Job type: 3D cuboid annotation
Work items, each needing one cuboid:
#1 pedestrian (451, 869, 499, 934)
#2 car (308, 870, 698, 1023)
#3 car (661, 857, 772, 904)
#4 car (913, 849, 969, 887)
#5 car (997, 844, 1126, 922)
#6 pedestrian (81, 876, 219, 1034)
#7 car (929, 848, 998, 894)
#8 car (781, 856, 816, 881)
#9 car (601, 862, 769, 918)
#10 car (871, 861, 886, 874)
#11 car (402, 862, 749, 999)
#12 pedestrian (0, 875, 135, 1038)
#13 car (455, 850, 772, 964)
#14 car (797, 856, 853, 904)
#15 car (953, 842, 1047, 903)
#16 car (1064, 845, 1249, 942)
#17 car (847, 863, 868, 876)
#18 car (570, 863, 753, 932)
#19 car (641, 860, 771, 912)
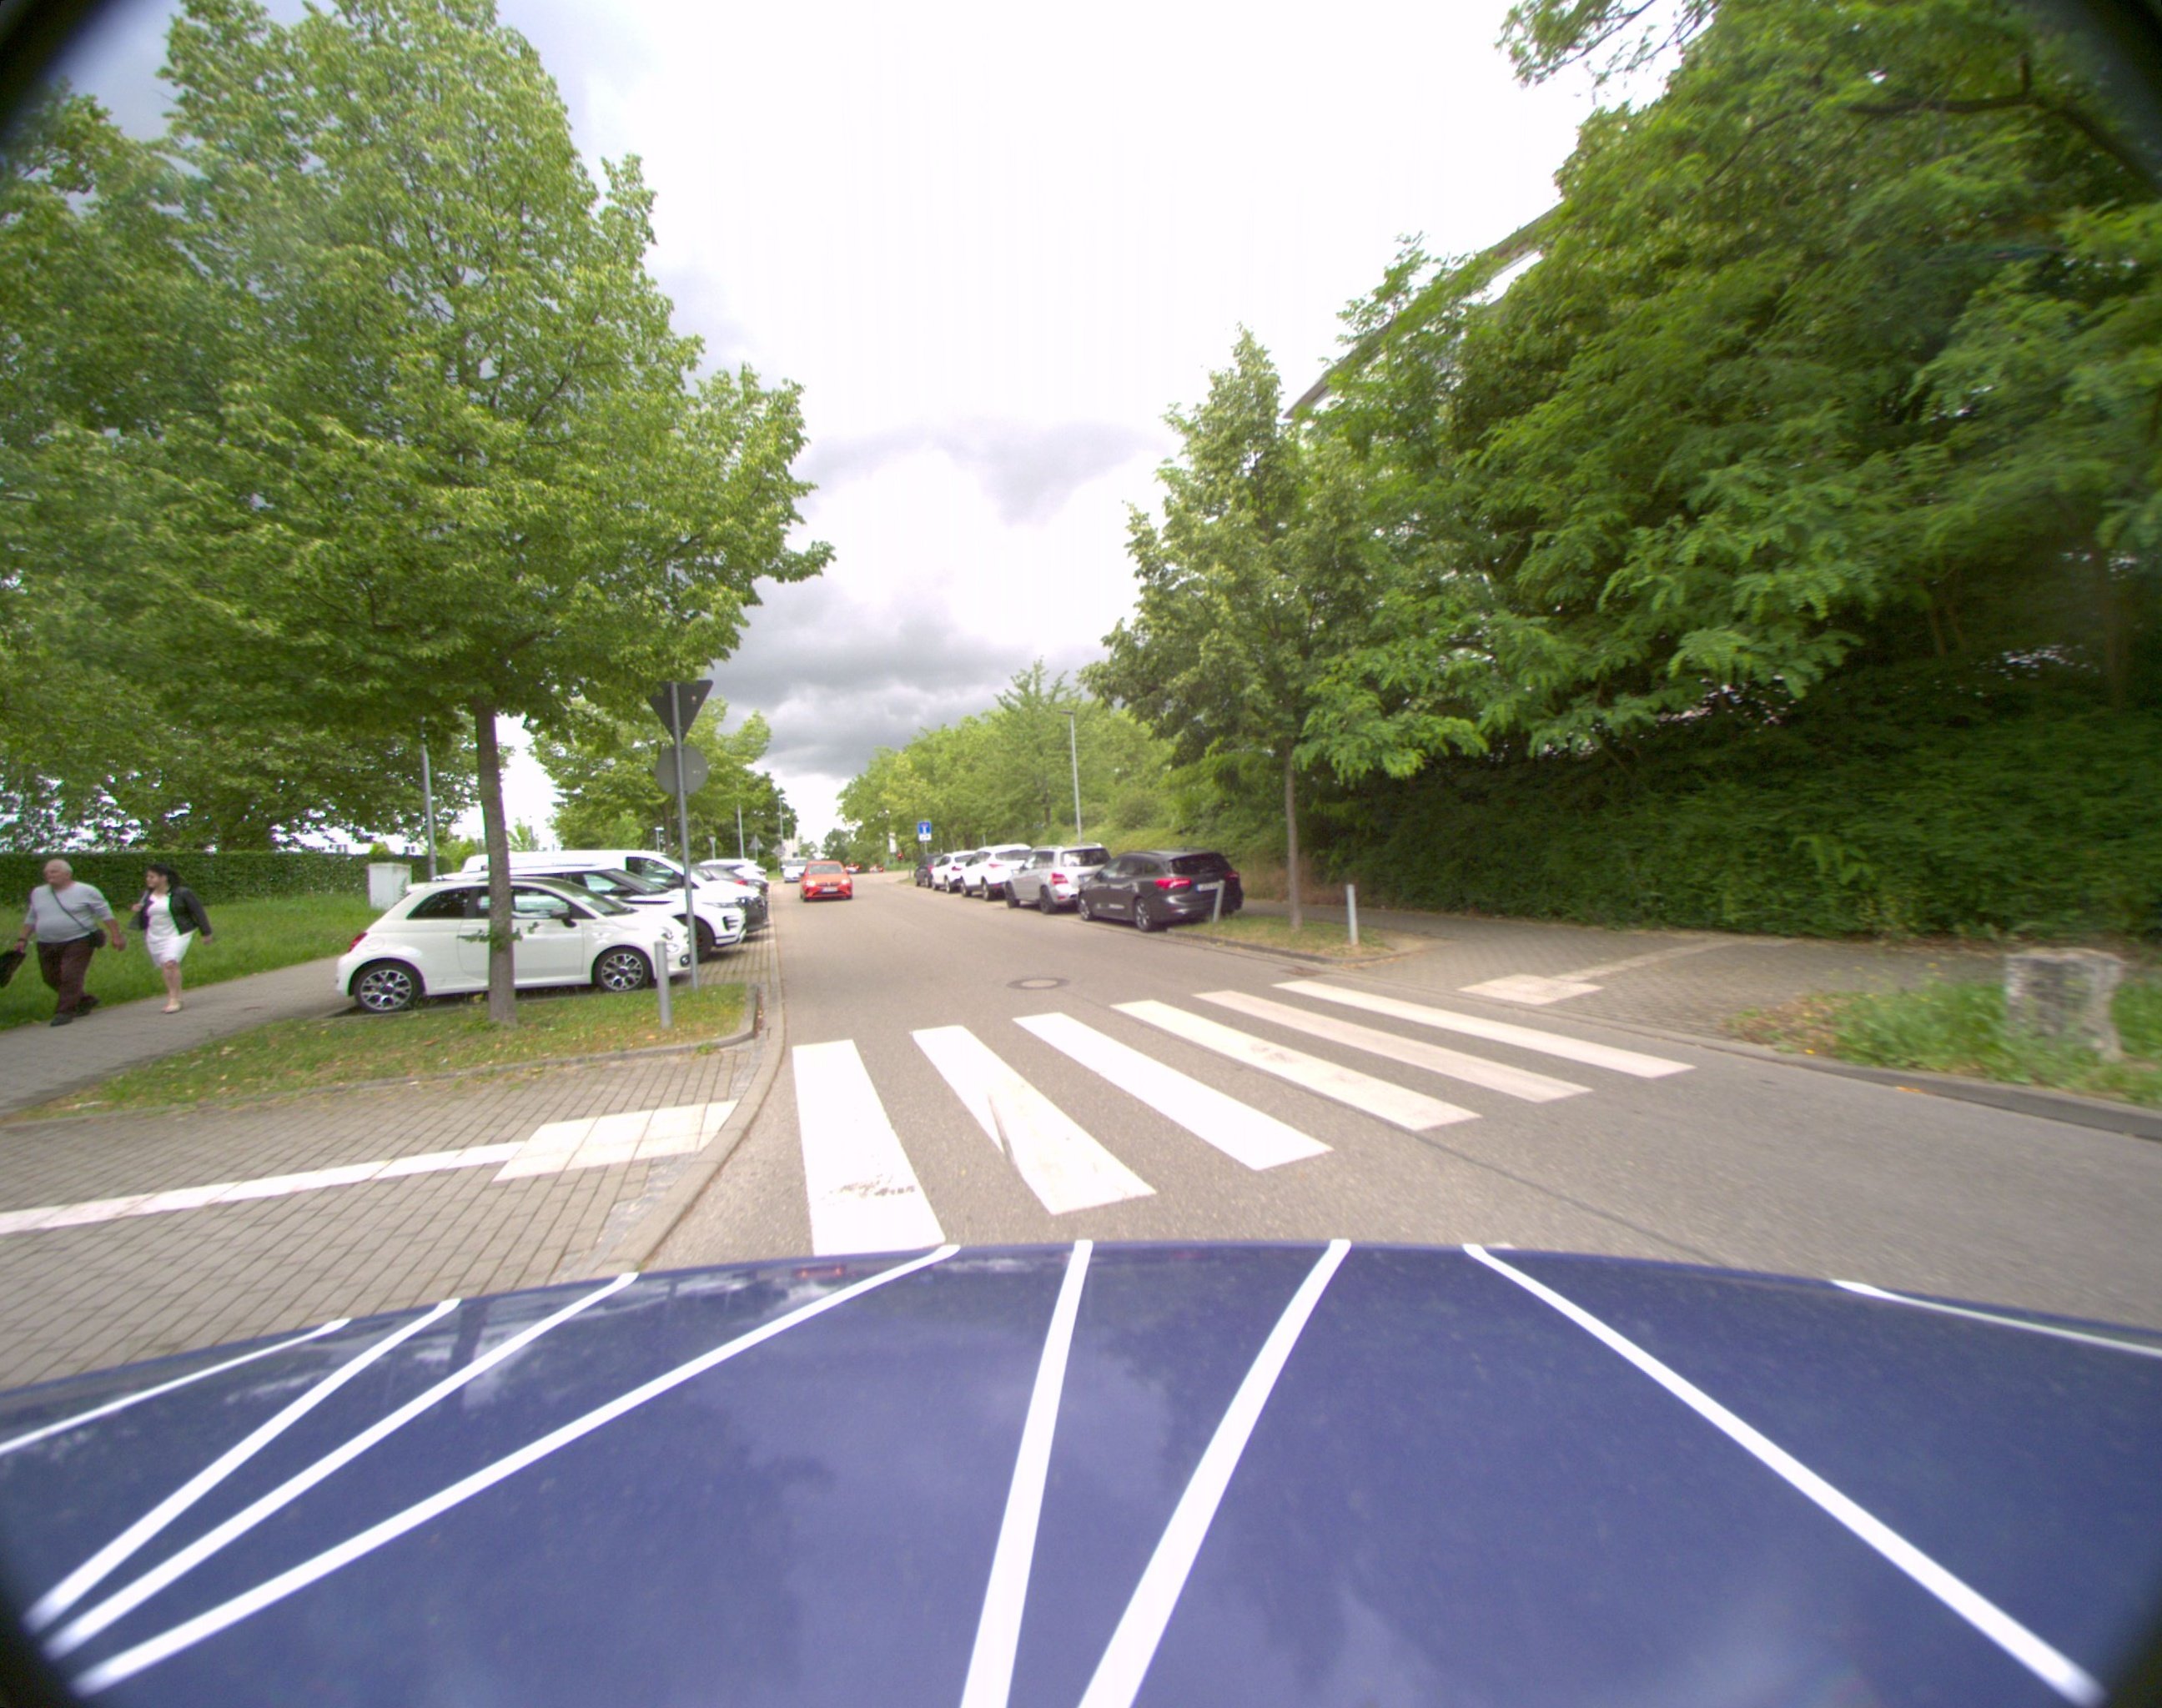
[{"bbox_3d":[-14.916,1.152,18.731,0.679,1.511,0.705,-4,1,-24],"label":"pedestrian"},{"bbox_3d":[-6.945,1.026,9.624,3.526,1.453,1.736,-3,1,-22],"label":"car"},{"bbox_3d":[-14.176,1.007,29.747,3.685,1.637,1.849,-2,0,-19],"label":"car"},{"bbox_3d":[-6.508,0.643,34.987,1.696,1.479,3.946,-7,2,-21],"label":"car"},{"bbox_3d":[-0.651,0.627,19.697,1.806,1.607,4.469,-7,3,-21],"label":"car"},{"bbox_3d":[-10.478,1.101,8.584,0.691,1.647,0.599,-4,1,-23],"label":"pedestrian"},{"bbox_3d":[-4.730,0.652,30.118,1.696,1.503,4.223,-7,2,-21],"label":"car"},{"bbox_3d":[-18.475,0.914,49.821,1.761,1.507,3.994,-4,1,-16],"label":"car"},{"bbox_3d":[-12.647,1.103,24.606,4.595,1.483,1.948,-2,1,-24],"label":"car"},{"bbox_3d":[-27.806,1.835,104.256,1.761,1.507,3.994,-4,1,-16],"label":"car"},{"bbox_3d":[-7.520,1.058,11.860,4.168,1.593,1.736,-4,1,-23],"label":"car"},{"bbox_3d":[-11.219,1.090,8.279,0.873,1.647,0.592,-4,1,-23],"label":"pedestrian"},{"bbox_3d":[-8.497,0.877,14.387,4.794,1.821,1.839,-1,1,-20],"label":"car"},{"bbox_3d":[-9.621,0.912,28.784,1.761,1.507,3.993,-4,2,-16],"label":"car"},{"bbox_3d":[-2.776,0.578,25.107,1.814,1.655,4.429,-7,2,-22],"label":"car"},{"bbox_3d":[1.280,0.671,15.030,1.696,1.457,4.448,-7,2,-21],"label":"car"},{"bbox_3d":[-28.811,2.023,98.050,1.905,1.573,4.159,2,-2,-26],"label":"car"},{"bbox_3d":[-10.532,1.033,19.431,3.841,1.511,1.908,-1,1,-22],"label":"car"},{"bbox_3d":[-13.423,1.103,27.449,4.004,1.510,1.880,-4,2,-23],"label":"car"}]
